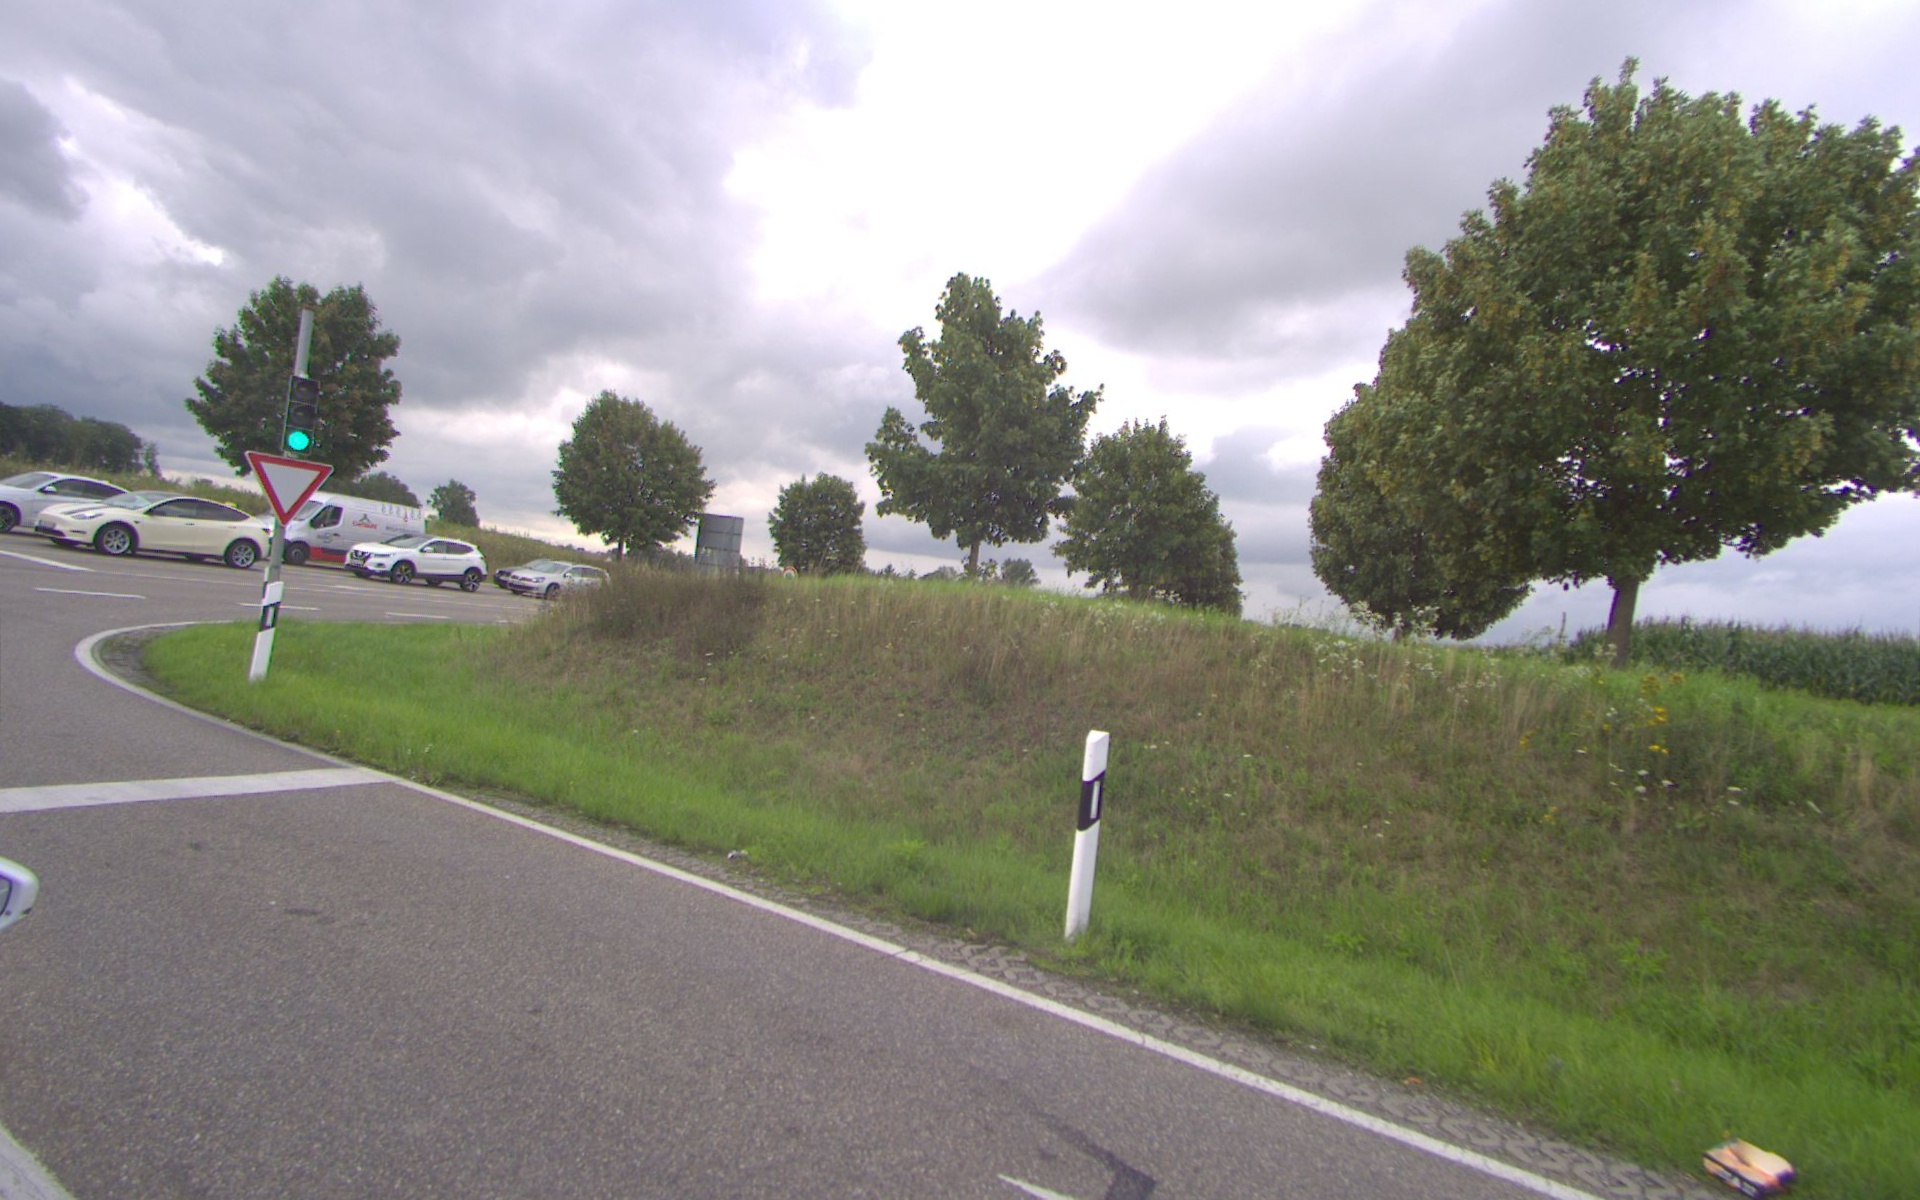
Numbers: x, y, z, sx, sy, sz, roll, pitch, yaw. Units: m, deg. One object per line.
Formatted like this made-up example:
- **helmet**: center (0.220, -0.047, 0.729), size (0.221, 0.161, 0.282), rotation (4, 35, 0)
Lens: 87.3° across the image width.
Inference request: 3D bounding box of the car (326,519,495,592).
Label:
- **car**: center (-17.167, -1.345, 31.703), size (1.963, 1.648, 4.325), rotation (7, -1, 19)

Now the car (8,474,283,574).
- **car**: center (-19.487, -1.755, 24.390), size (1.963, 1.583, 4.751), rotation (7, -1, 19)

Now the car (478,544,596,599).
- **car**: center (-17.250, -1.106, 41.222), size (1.963, 1.648, 4.277), rotation (7, -1, 19)

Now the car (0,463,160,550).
- **car**: center (-23.189, -2.428, 25.306), size (1.963, 1.648, 4.278), rotation (7, -1, 19)

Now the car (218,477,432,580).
- **car**: center (-20.782, -2.249, 33.282), size (2.354, 2.470, 5.516), rotation (7, -1, 20)

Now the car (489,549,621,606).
- **car**: center (-15.096, -0.781, 37.807), size (1.963, 1.471, 4.584), rotation (8, -1, 19)

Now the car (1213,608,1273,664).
- **car**: center (11.909, 1.571, 42.540), size (1.962, 2.037, 4.005), rotation (6, -2, 12)
